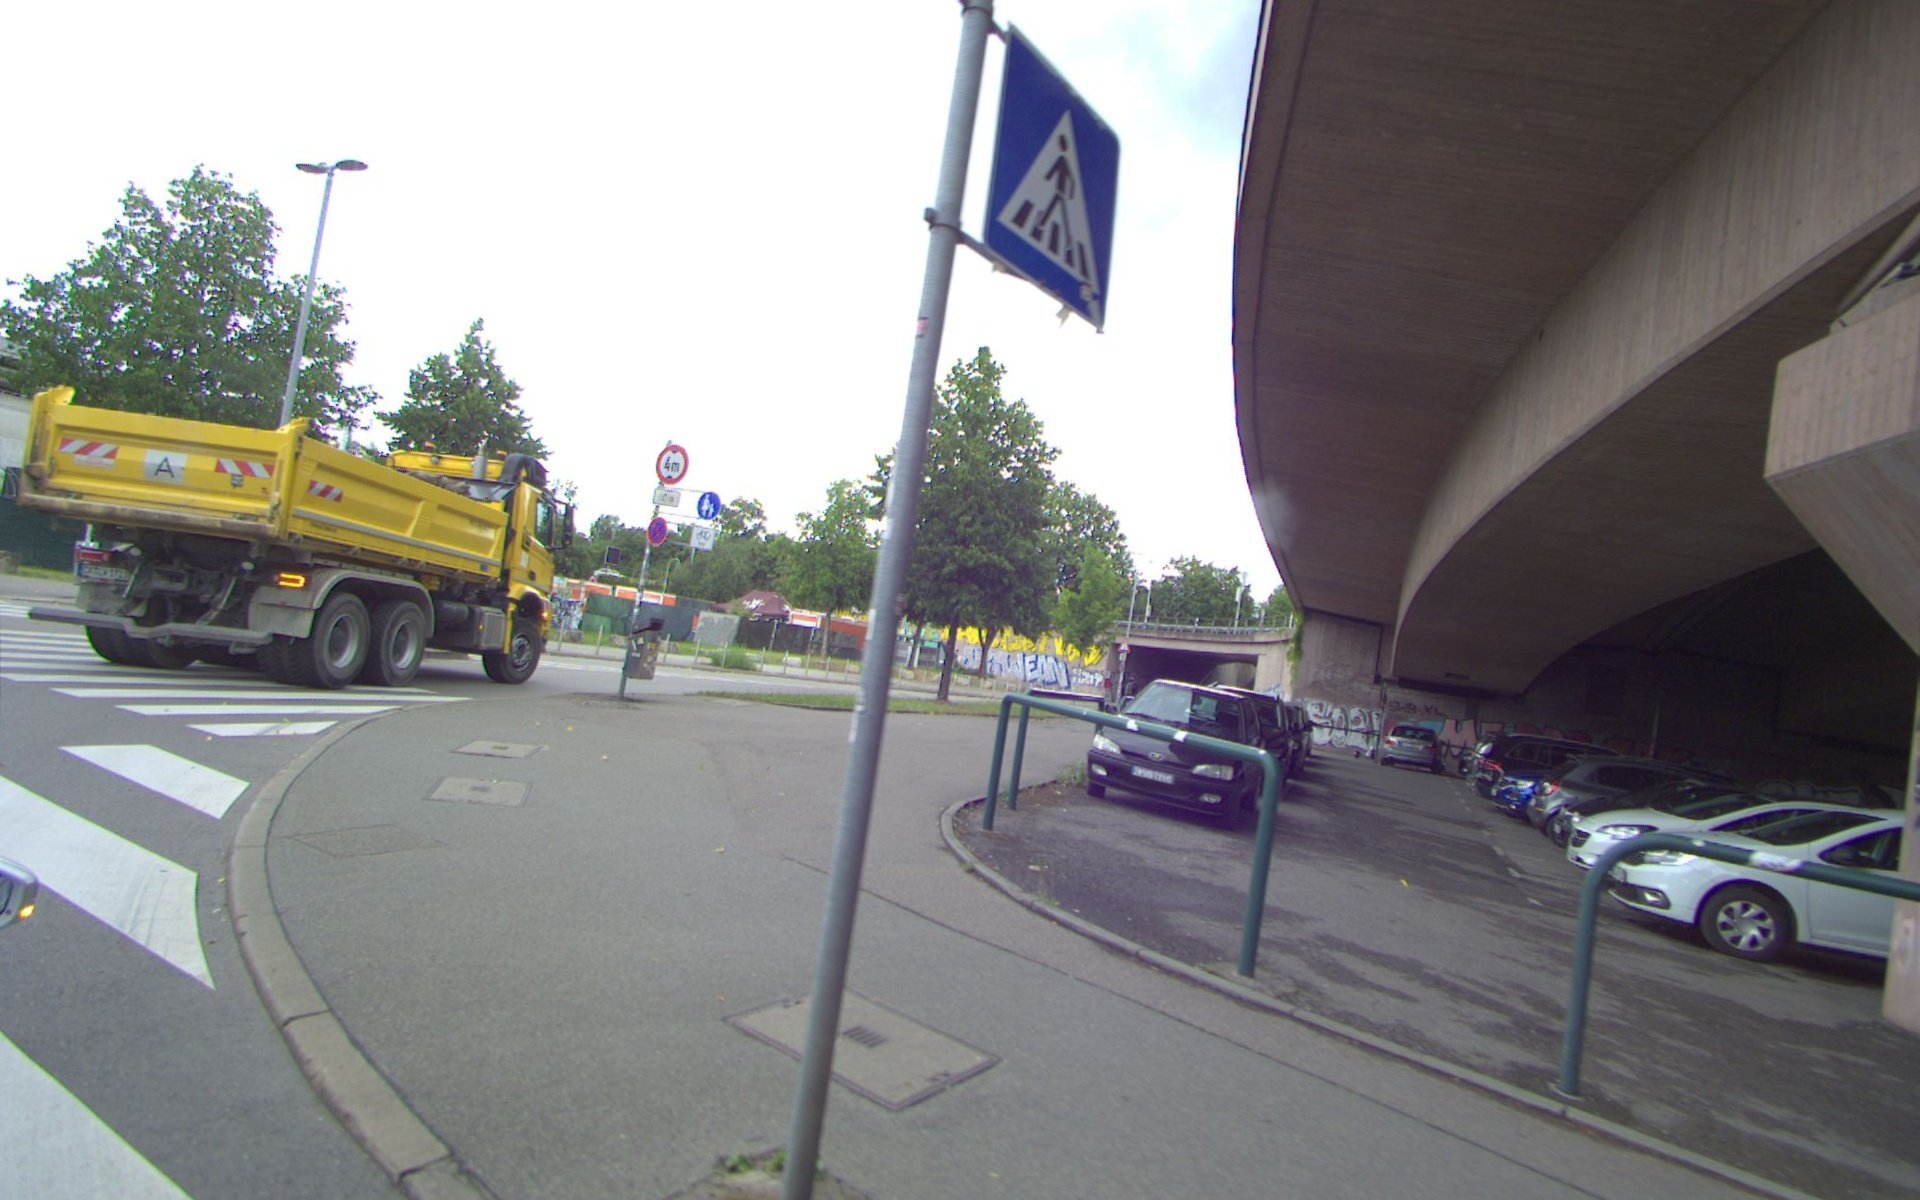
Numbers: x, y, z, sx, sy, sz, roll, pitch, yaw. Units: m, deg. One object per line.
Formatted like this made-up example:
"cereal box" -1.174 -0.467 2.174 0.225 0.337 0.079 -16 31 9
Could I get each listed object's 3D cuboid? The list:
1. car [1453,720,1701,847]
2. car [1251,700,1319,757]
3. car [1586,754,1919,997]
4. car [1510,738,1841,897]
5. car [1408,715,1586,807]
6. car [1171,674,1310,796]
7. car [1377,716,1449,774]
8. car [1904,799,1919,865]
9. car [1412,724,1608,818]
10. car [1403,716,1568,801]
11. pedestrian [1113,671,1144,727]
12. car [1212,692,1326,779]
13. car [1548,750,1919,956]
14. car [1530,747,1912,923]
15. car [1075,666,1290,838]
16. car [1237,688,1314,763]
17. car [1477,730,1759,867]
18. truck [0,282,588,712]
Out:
"car" 12.355 3.635 20.431 3.789 1.713 1.760 8 -2 18
"car" 10.255 4.030 31.637 1.551 1.455 3.380 8 -3 24
"car" 8.242 2.577 9.146 3.937 1.569 1.641 8 -2 21
"car" 11.157 3.345 16.002 3.789 1.573 1.701 8 -2 18
"car" 14.297 4.265 27.023 3.789 1.656 1.760 8 -2 18
"car" 4.635 2.139 16.192 1.483 1.435 4.254 10 -3 23
"car" 14.945 4.731 33.077 1.719 1.515 4.000 7 -3 28
"car" 25.701 6.053 24.379 3.597 1.616 1.680 8 -2 25
"car" 13.380 4.135 24.724 3.789 1.454 1.760 8 -2 18
"car" 15.033 4.511 29.017 3.789 1.656 1.760 8 -2 18
"pedestrian" 6.168 3.622 36.773 0.723 1.928 0.826 8 -2 22
"car" 6.592 2.811 21.151 1.740 1.335 4.379 8 -3 23
"car" 9.354 2.910 11.818 3.789 1.526 1.701 8 -2 18
"car" 10.414 3.175 14.117 3.789 1.459 1.701 8 -2 18
"car" 2.672 1.659 11.430 1.483 1.344 3.703 11 -2 24
"car" 8.371 3.268 26.494 1.587 1.552 4.075 8 -3 20
"car" 11.734 3.497 18.238 3.789 1.573 1.760 8 -2 18
"truck" -7.948 -0.821 13.622 2.718 3.739 7.884 9 -3 -2
